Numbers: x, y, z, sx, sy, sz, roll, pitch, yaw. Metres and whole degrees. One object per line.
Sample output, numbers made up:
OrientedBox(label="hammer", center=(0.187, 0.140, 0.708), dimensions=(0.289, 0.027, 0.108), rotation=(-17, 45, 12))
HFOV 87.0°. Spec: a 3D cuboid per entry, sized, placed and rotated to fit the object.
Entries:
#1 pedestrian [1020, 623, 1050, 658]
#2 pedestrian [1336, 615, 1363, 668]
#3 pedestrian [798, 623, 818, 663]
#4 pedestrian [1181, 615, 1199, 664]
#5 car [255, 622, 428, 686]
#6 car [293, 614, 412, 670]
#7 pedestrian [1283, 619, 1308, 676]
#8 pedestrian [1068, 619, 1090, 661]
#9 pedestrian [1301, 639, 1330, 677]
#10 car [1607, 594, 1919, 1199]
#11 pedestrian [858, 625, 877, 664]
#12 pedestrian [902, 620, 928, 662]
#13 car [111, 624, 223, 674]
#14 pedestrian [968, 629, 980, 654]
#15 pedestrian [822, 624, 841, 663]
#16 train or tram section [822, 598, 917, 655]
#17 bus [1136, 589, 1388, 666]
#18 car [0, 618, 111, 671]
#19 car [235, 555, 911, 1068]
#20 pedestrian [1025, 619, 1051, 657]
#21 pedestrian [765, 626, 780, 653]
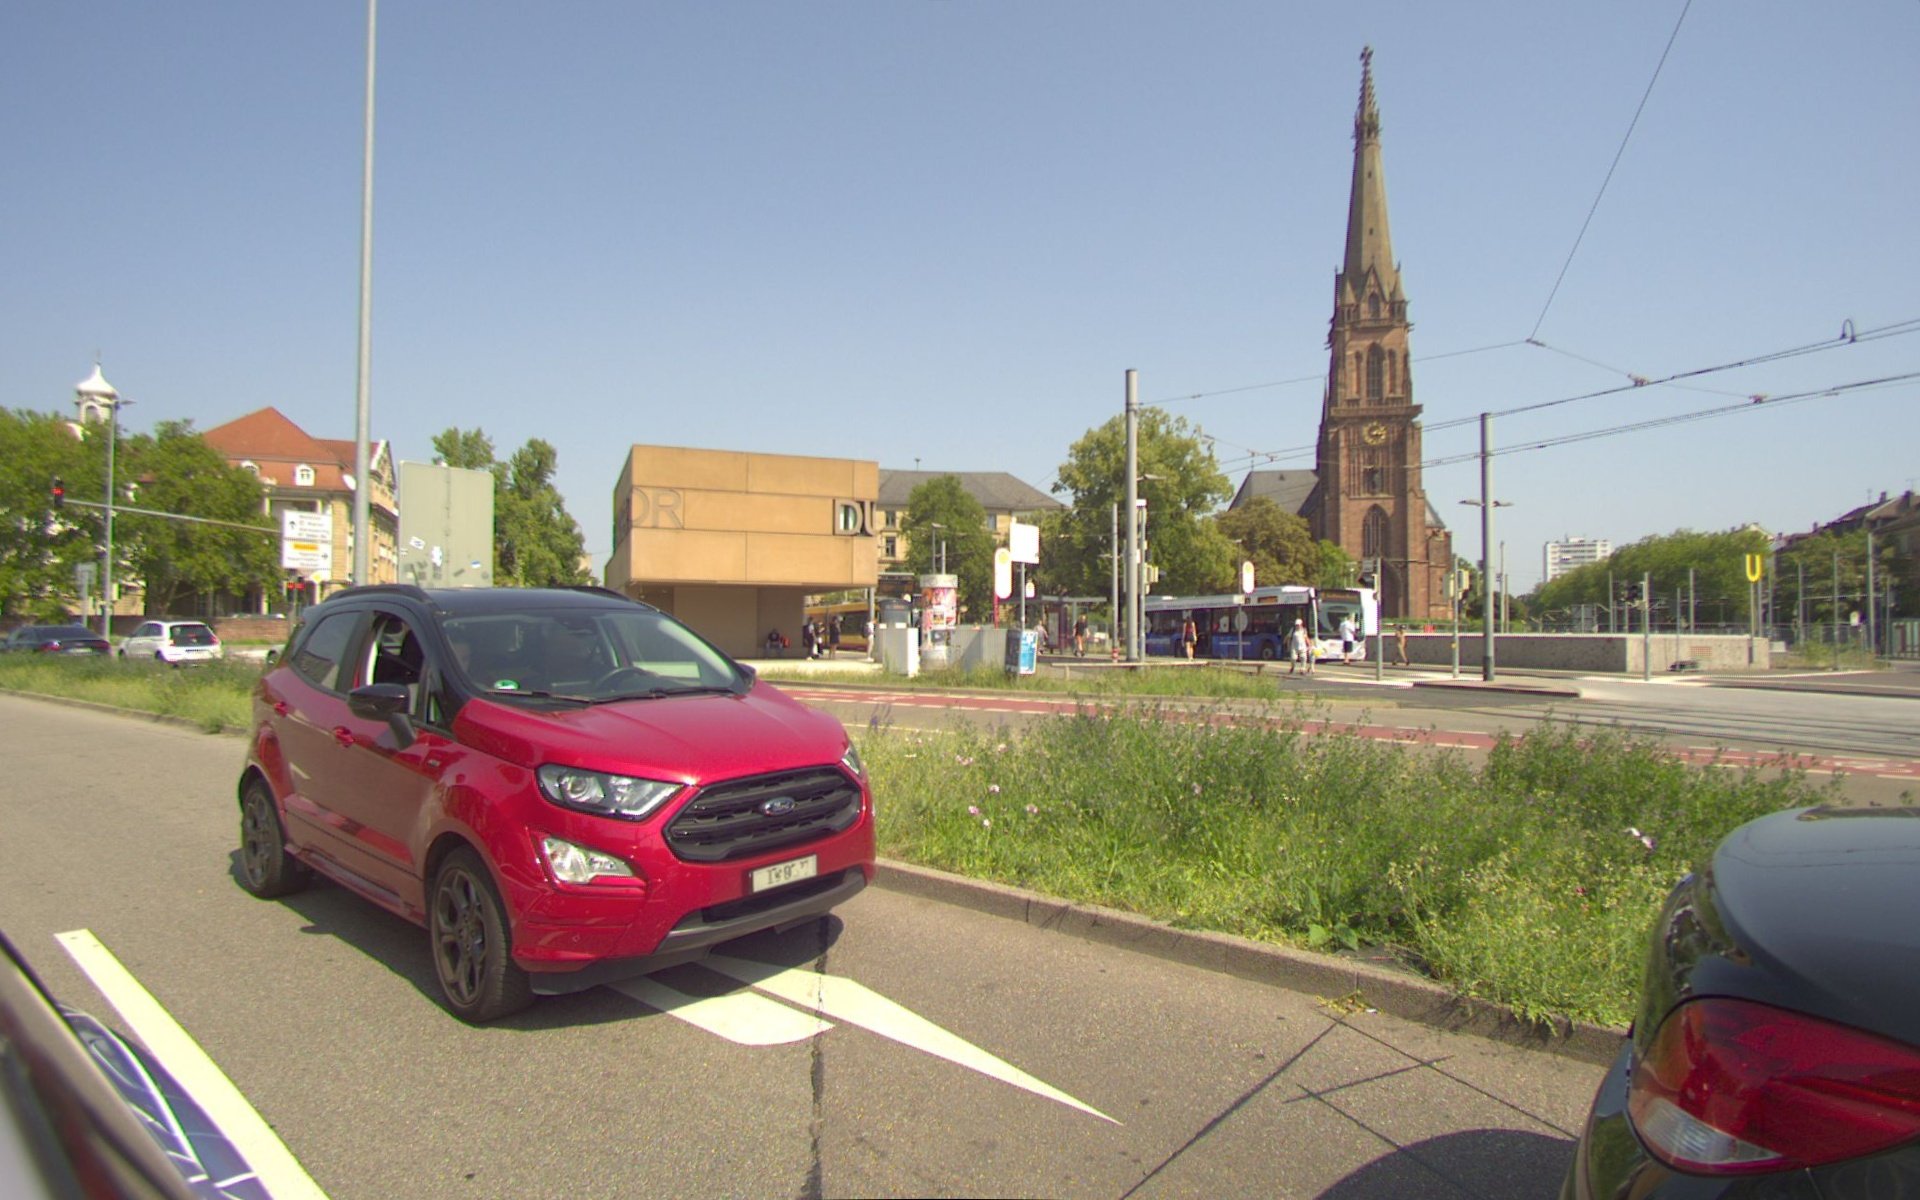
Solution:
OrientedBox(label="pedestrian", center=(3.637, 1.960, 49.030), dimensions=(1.060, 1.709, 1.068), rotation=(1, -2, -21))
OrientedBox(label="pedestrian", center=(13.558, 1.434, 35.234), dimensions=(0.592, 1.825, 0.640), rotation=(-1, 0, -12))
OrientedBox(label="pedestrian", center=(-5.865, 1.654, 38.973), dimensions=(0.541, 1.508, 0.532), rotation=(-1, -3, 39))
OrientedBox(label="pedestrian", center=(8.791, 1.512, 38.715), dimensions=(0.632, 1.825, 0.599), rotation=(-1, 0, 16))
OrientedBox(label="car", center=(-16.623, 1.404, 27.168), dimensions=(4.697, 1.597, 1.979), rotation=(-1, -2, 30))
OrientedBox(label="car", center=(-21.382, 1.443, 35.596), dimensions=(3.898, 1.868, 1.851), rotation=(0, -2, 29))
OrientedBox(label="pedestrian", center=(10.411, 1.471, 31.419), dimensions=(0.529, 1.724, 0.693), rotation=(0, -2, 1))
OrientedBox(label="pedestrian", center=(5.208, 1.742, 44.384), dimensions=(0.792, 1.837, 0.535), rotation=(1, -2, -21))
OrientedBox(label="pedestrian", center=(11.129, 1.807, 31.722), dimensions=(0.628, 1.134, 0.603), rotation=(-1, 0, -7))
OrientedBox(label="car", center=(2.709, 0.658, 0.446), dimensions=(1.745, 1.398, 3.783), rotation=(0, -1, -45))
OrientedBox(label="pedestrian", center=(-3.637, 1.747, 39.839), dimensions=(0.541, 1.508, 0.532), rotation=(-1, -3, 39))
OrientedBox(label="pedestrian", center=(-1.640, 1.504, 37.166), dimensions=(0.605, 1.508, 0.761), rotation=(-1, -3, 39))
OrientedBox(label="car", center=(-25.292, 1.536, 32.263), dimensions=(3.460, 1.490, 1.512), rotation=(-1, -2, 27))
OrientedBox(label="pedestrian", center=(0.797, 2.325, 57.213), dimensions=(0.546, 1.405, 0.535), rotation=(1, -2, -21))
OrientedBox(label="pedestrian", center=(-5.066, 1.704, 39.870), dimensions=(0.541, 1.508, 0.532), rotation=(-1, -3, 39))
OrientedBox(label="train or tram section", center=(-6.319, 1.803, 67.625), dimensions=(2.658, 3.465, 13.464), rotation=(1, -2, -21))
OrientedBox(label="bus", center=(12.091, 1.190, 42.729), dimensions=(3.346, 2.733, 12.382), rotation=(1, -2, -21))
OrientedBox(label="car", center=(-25.894, 1.255, 28.919), dimensions=(3.466, 1.437, 1.510), rotation=(-1, -2, 32))
OrientedBox(label="car", center=(-2.189, 0.692, 5.097), dimensions=(3.845, 1.598, 1.671), rotation=(-2, -1, 43))
OrientedBox(label="pedestrian", center=(3.789, 1.850, 49.112), dimensions=(0.913, 1.837, 0.940), rotation=(1, -2, -21))
OrientedBox(label="pedestrian", center=(-7.541, 1.586, 40.656), dimensions=(0.530, 1.108, 0.543), rotation=(1, -2, -18))
